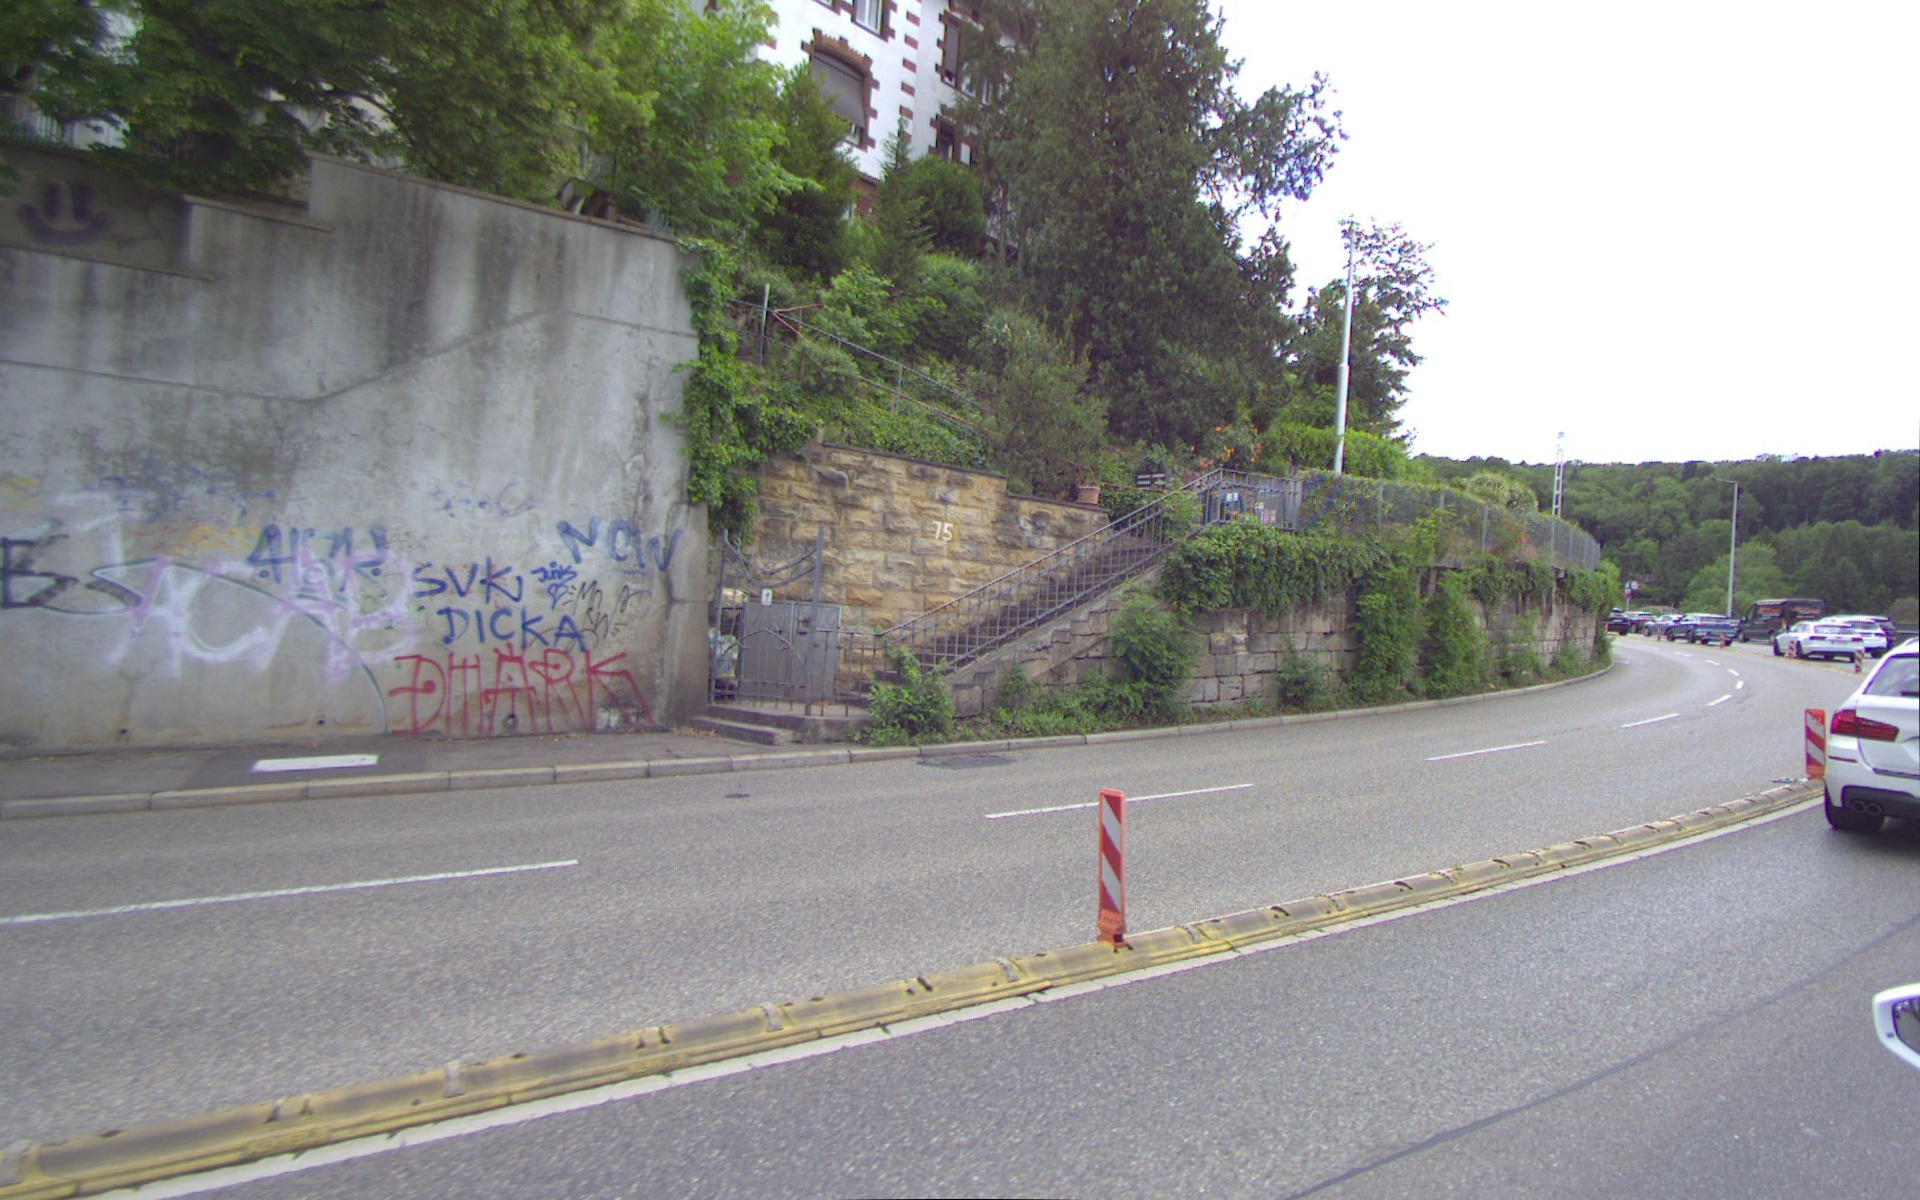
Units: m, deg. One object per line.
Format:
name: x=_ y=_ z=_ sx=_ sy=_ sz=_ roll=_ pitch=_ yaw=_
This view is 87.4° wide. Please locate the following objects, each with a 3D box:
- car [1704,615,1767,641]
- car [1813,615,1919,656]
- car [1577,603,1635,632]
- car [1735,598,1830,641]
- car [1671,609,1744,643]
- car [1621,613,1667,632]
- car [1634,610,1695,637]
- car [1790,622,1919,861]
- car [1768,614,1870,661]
car: x=46.850 y=1.665 z=60.775 sx=1.639 sy=1.435 sz=3.584 roll=1 pitch=1 yaw=13
car: x=38.866 y=1.499 z=42.880 sx=3.938 sy=1.607 sz=1.991 roll=1 pitch=1 yaw=-19
car: x=41.059 y=1.108 z=63.938 sx=1.784 sy=1.712 sz=4.002 roll=1 pitch=1 yaw=12
car: x=45.332 y=1.021 z=55.479 sx=2.040 sy=2.223 sz=4.735 roll=1 pitch=1 yaw=12
car: x=38.307 y=1.315 z=51.592 sx=1.961 sy=1.561 sz=4.009 roll=1 pitch=1 yaw=21
car: x=47.905 y=1.578 z=70.421 sx=1.500 sy=1.175 sz=3.500 roll=1 pitch=1 yaw=13
car: x=43.476 y=1.431 z=62.104 sx=1.665 sy=1.546 sz=3.538 roll=1 pitch=1 yaw=9
car: x=8.230 y=0.931 z=7.582 sx=4.830 sy=1.486 sz=1.836 roll=0 pitch=0 yaw=-35
car: x=32.985 y=1.402 z=38.707 sx=1.876 sy=1.595 sz=3.997 roll=1 pitch=1 yaw=24
